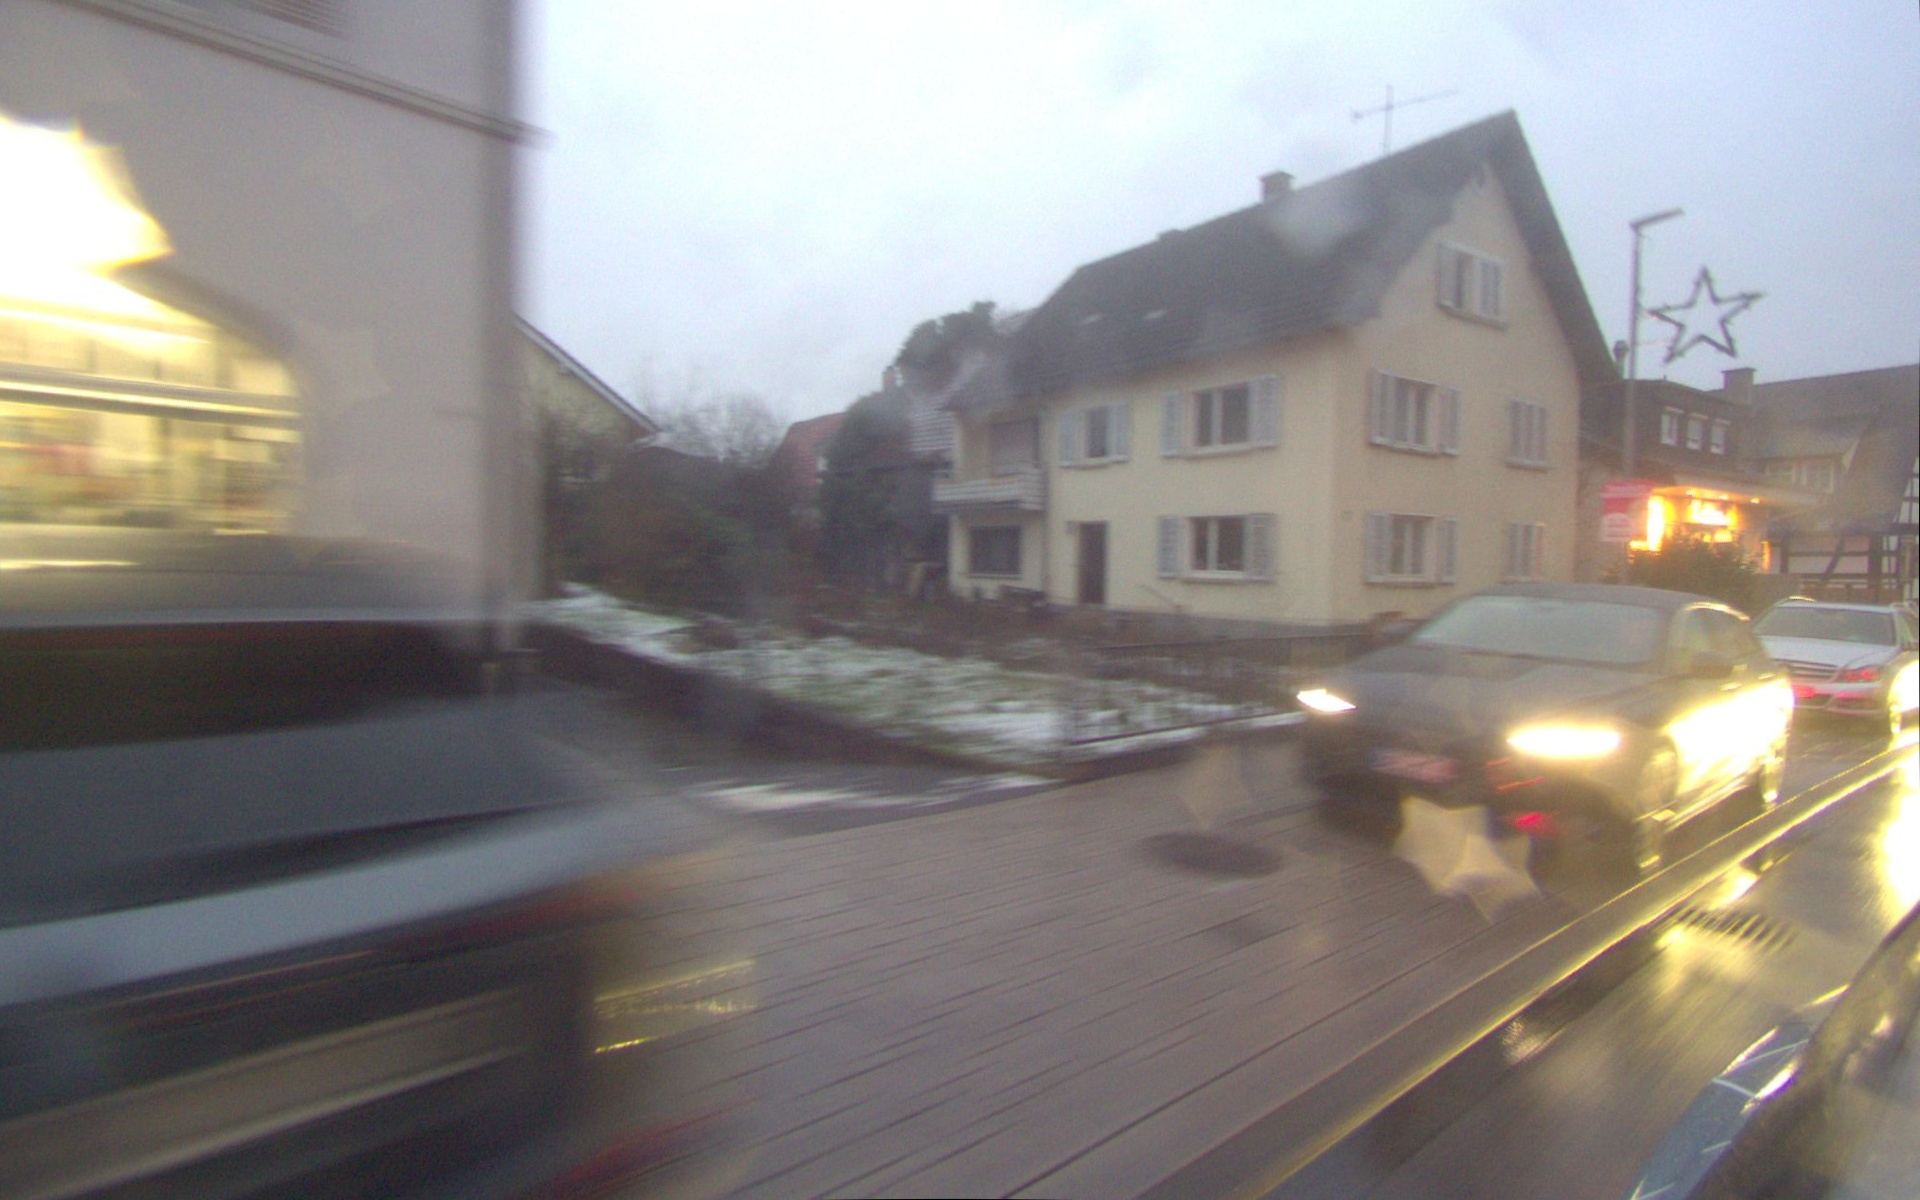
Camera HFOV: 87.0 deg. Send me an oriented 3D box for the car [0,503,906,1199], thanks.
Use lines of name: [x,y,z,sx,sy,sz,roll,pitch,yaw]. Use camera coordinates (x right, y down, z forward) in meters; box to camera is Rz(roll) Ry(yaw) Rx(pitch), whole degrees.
car: [-2.328,0.518,2.826,1.866,1.491,4.472,0,3,-44]

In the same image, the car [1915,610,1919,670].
car: [19.794,0.611,19.035,4.522,1.440,1.829,0,4,-37]

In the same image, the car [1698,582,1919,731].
car: [11.109,0.579,12.693,4.448,1.478,1.800,0,3,-38]

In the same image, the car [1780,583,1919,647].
car: [25.399,0.377,28.414,1.655,1.458,3.303,0,5,-36]

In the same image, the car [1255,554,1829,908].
car: [4.125,0.569,6.795,4.589,1.566,1.886,0,3,-41]
